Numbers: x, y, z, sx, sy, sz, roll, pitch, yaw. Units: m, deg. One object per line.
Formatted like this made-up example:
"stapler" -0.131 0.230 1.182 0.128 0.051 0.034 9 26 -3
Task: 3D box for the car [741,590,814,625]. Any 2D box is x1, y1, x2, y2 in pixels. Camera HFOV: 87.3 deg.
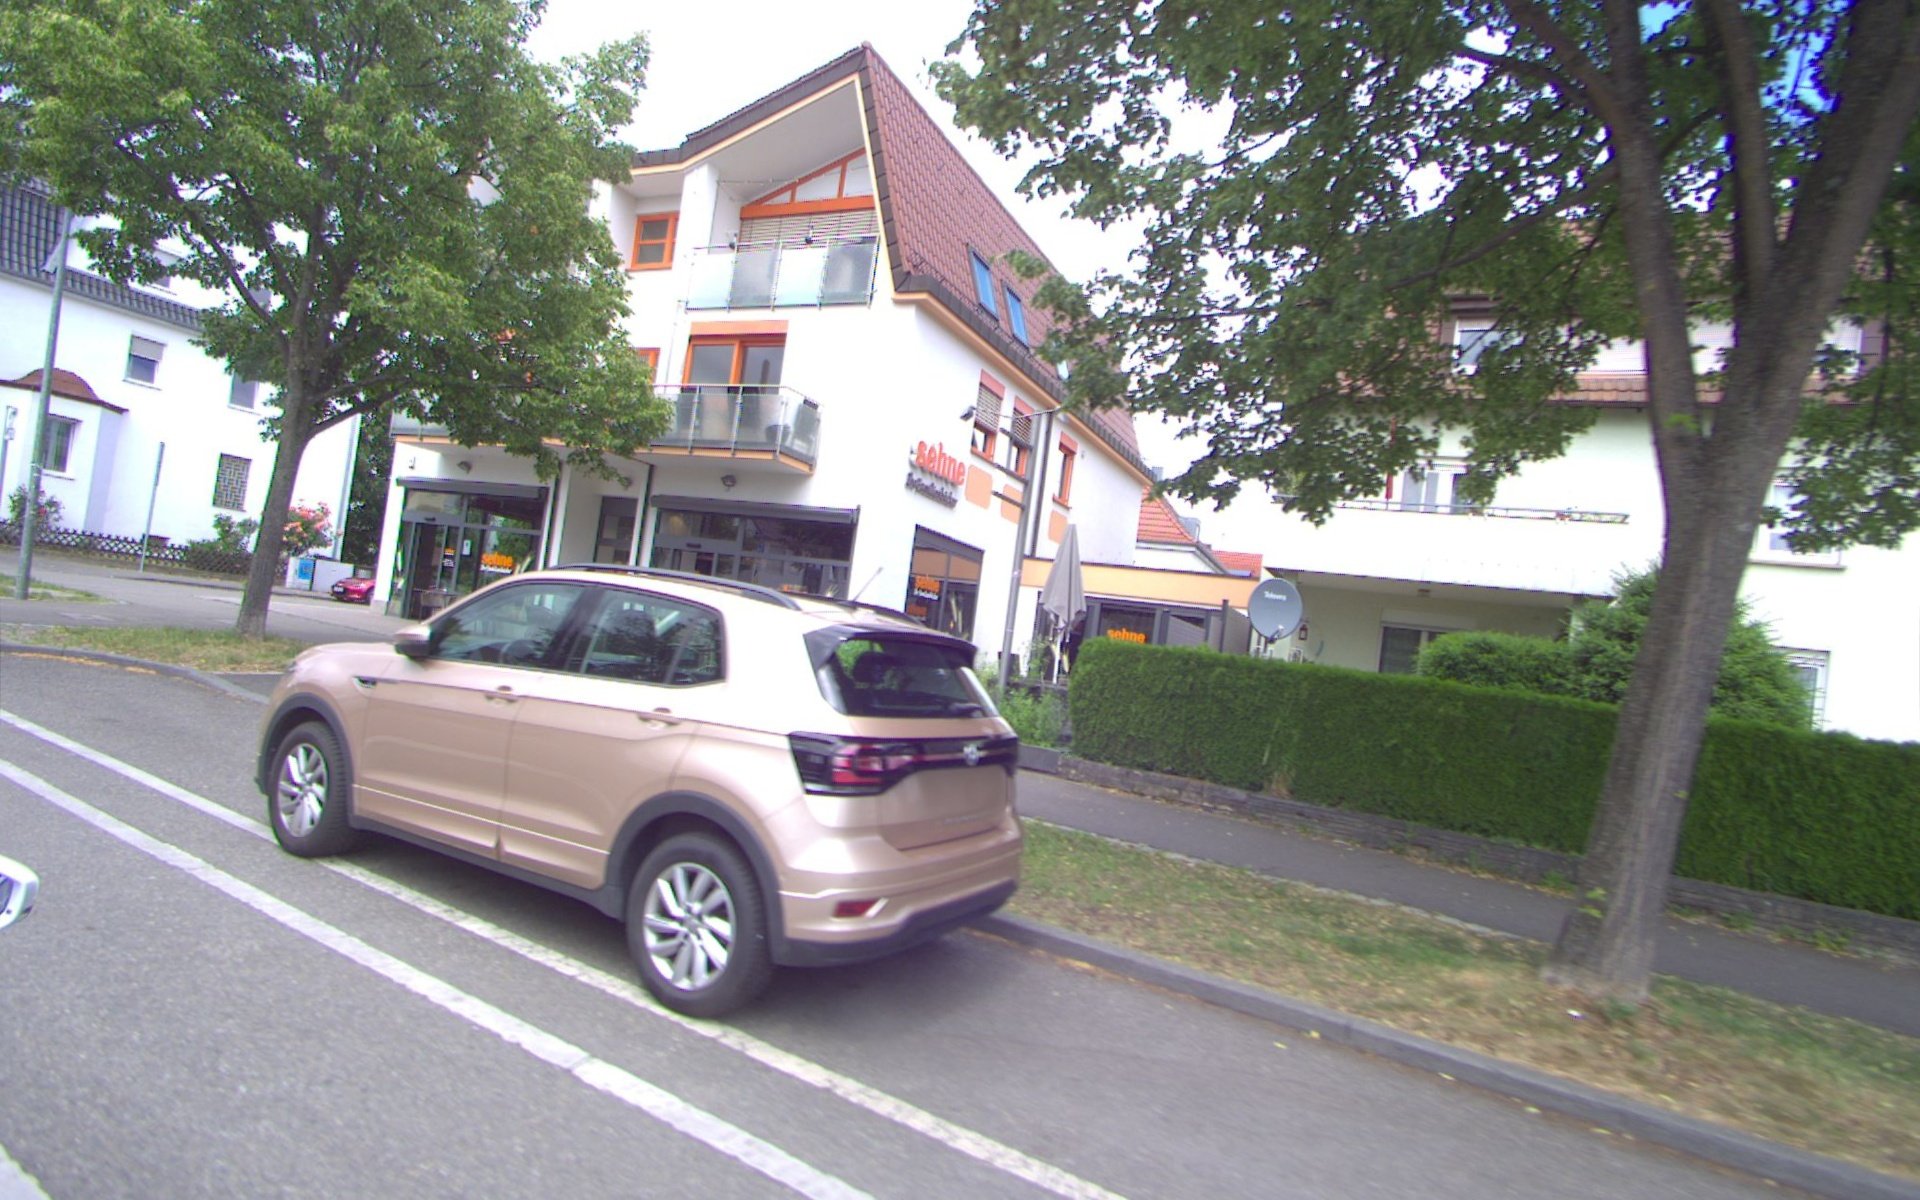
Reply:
"car" -9.341 0.412 51.747 1.630 1.321 3.695 7 -2 28

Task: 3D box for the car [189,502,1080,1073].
"car" -1.673 0.593 4.935 3.990 1.598 1.727 7 -2 28

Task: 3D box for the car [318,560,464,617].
"car" -18.541 -0.358 32.948 1.716 1.244 3.709 7 -3 27
